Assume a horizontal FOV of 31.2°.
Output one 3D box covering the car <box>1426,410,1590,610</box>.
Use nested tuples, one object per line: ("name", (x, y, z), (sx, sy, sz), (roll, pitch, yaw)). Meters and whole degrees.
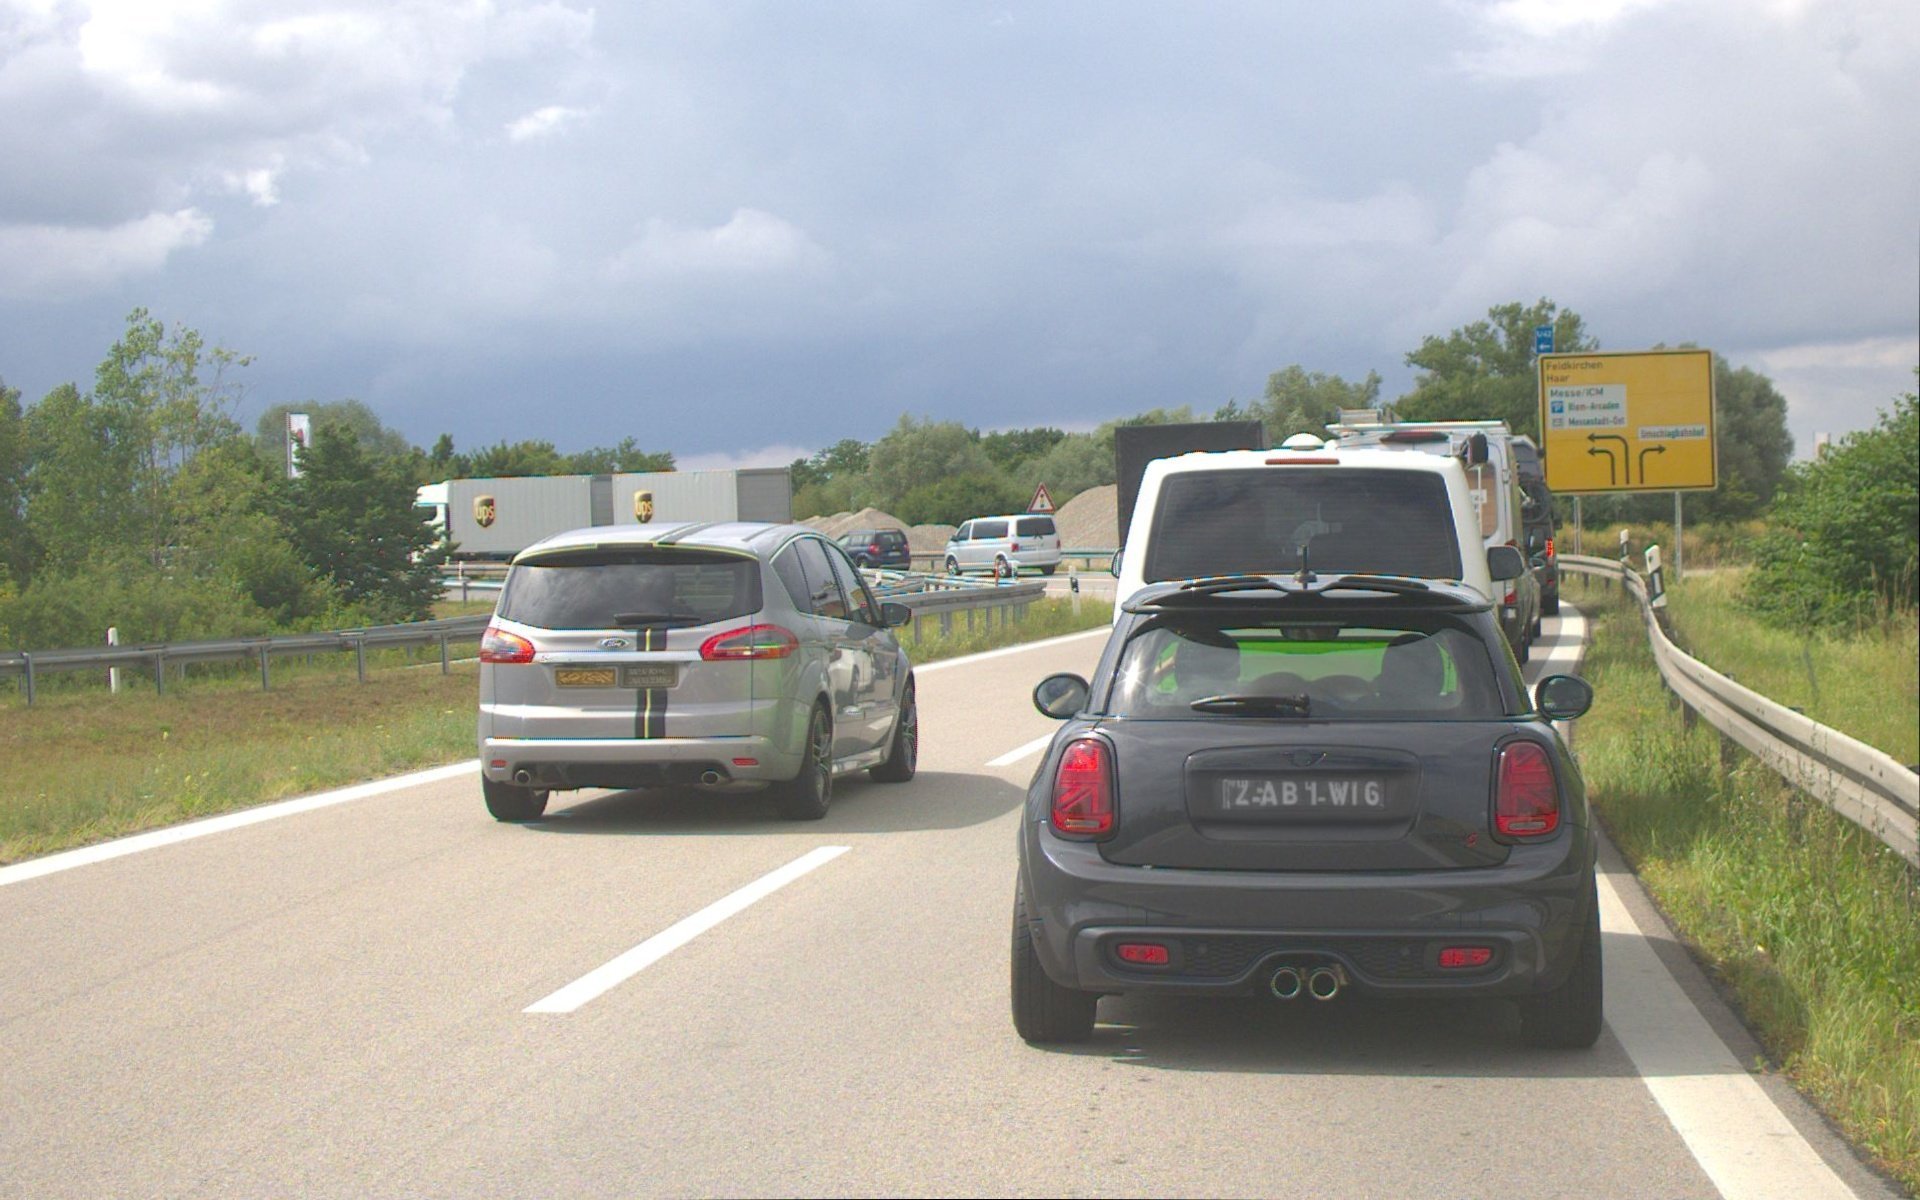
("car", (9.016, -1.383, 56.110), (2.312, 3.058, 6.658), (1, 0, 12))

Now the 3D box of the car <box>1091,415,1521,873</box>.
("car", (1.799, 0.174, 17.494), (1.911, 2.038, 4.180), (0, 0, 7))

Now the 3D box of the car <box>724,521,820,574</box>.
("car", (-6.484, -1.785, 118.374), (1.812, 1.750, 4.001), (1, 0, -27))

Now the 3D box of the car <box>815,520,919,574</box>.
("car", (-3.277, -1.836, 120.378), (1.921, 1.831, 4.318), (1, 0, -27))

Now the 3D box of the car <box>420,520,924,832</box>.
("car", (-1.514, 0.387, 19.966), (2.021, 1.572, 4.586), (-1, 0, 7))

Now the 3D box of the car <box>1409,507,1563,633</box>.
("car", (7.224, -0.394, 47.299), (1.994, 1.636, 3.927), (1, 0, 8))

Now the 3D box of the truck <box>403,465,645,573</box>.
("truck", (-16.841, -3.094, 132.294), (10.018, 3.962, 2.839), (1, 0, 36))

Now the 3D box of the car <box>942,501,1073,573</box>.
("car", (1.527, -2.031, 112.813), (2.289, 2.252, 5.108), (1, 0, -25))

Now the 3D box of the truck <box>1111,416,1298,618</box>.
("truck", (4.212, -1.314, 57.934), (2.561, 3.157, 7.465), (1, 0, 8))

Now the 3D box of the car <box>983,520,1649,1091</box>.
("car", (1.130, 0.532, 11.263), (1.800, 1.541, 3.738), (0, 1, 5))

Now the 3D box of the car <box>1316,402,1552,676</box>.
("car", (4.956, -0.589, 35.791), (2.212, 2.613, 5.532), (1, 0, 8))

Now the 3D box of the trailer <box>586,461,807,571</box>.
("trailer", (-9.756, -3.034, 126.237), (8.767, 3.885, 3.038), (1, 0, 45))
